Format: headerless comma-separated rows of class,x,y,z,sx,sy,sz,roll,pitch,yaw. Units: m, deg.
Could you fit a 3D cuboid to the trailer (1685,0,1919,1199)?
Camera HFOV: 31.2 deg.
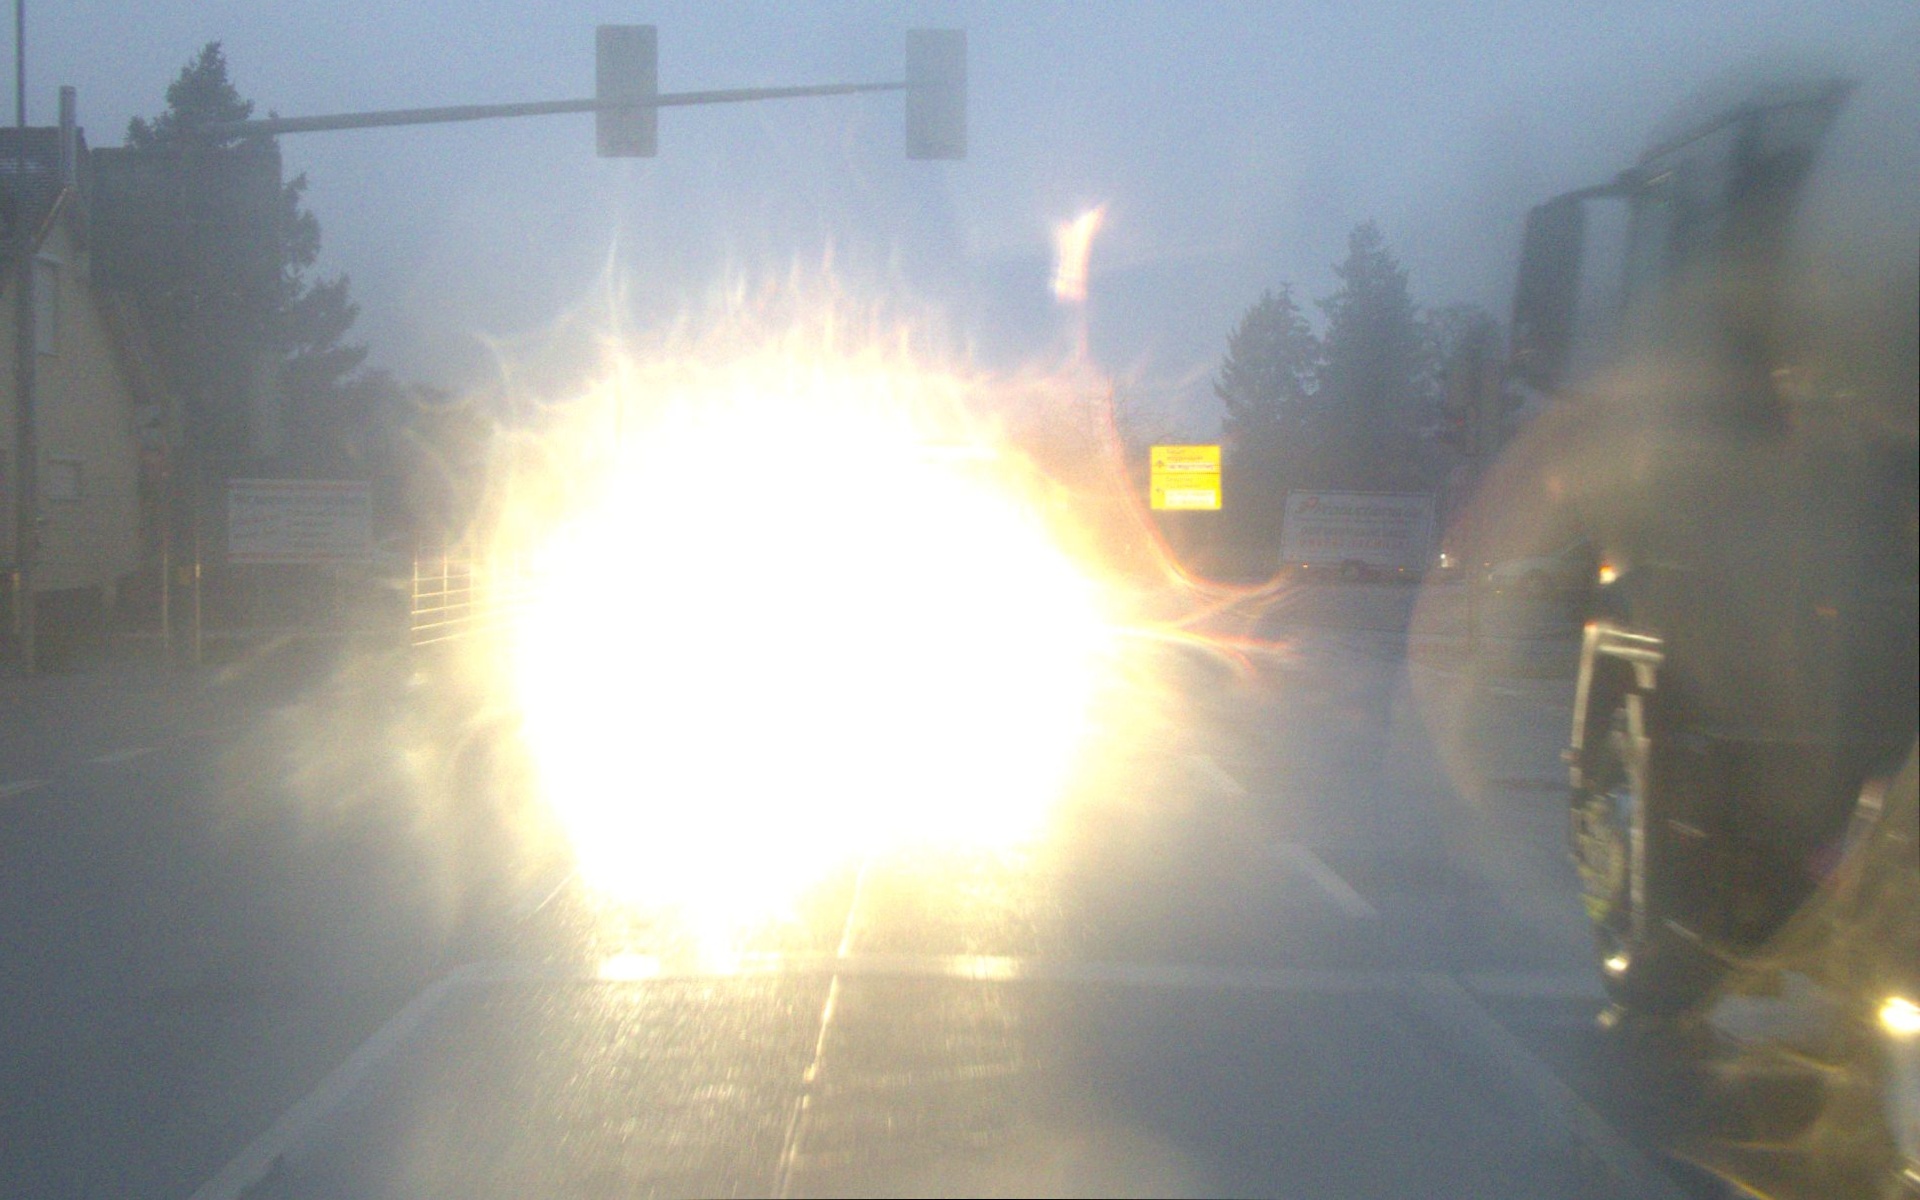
trailer,3.214,-0.120,3.623,2.488,3.229,10.870,1,1,0

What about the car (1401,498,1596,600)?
car,11.476,-1.096,73.274,3.988,2.007,1.999,-2,1,10

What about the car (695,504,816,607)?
car,-3.556,-0.782,60.382,1.721,1.717,3.928,-1,1,2

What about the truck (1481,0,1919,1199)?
truck,3.180,-0.254,9.502,2.461,3.218,6.273,1,1,0

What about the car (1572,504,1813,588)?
car,14.738,-1.105,69.354,4.527,1.524,1.777,-2,1,5

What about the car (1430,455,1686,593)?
car,13.287,-1.694,76.471,5.251,2.860,1.777,-2,1,-7

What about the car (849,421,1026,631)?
car,-0.380,-1.117,51.486,2.401,2.882,6.251,2,1,-1

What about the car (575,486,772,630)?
car,-3.664,-0.574,44.659,1.994,1.740,4.000,-1,2,3
